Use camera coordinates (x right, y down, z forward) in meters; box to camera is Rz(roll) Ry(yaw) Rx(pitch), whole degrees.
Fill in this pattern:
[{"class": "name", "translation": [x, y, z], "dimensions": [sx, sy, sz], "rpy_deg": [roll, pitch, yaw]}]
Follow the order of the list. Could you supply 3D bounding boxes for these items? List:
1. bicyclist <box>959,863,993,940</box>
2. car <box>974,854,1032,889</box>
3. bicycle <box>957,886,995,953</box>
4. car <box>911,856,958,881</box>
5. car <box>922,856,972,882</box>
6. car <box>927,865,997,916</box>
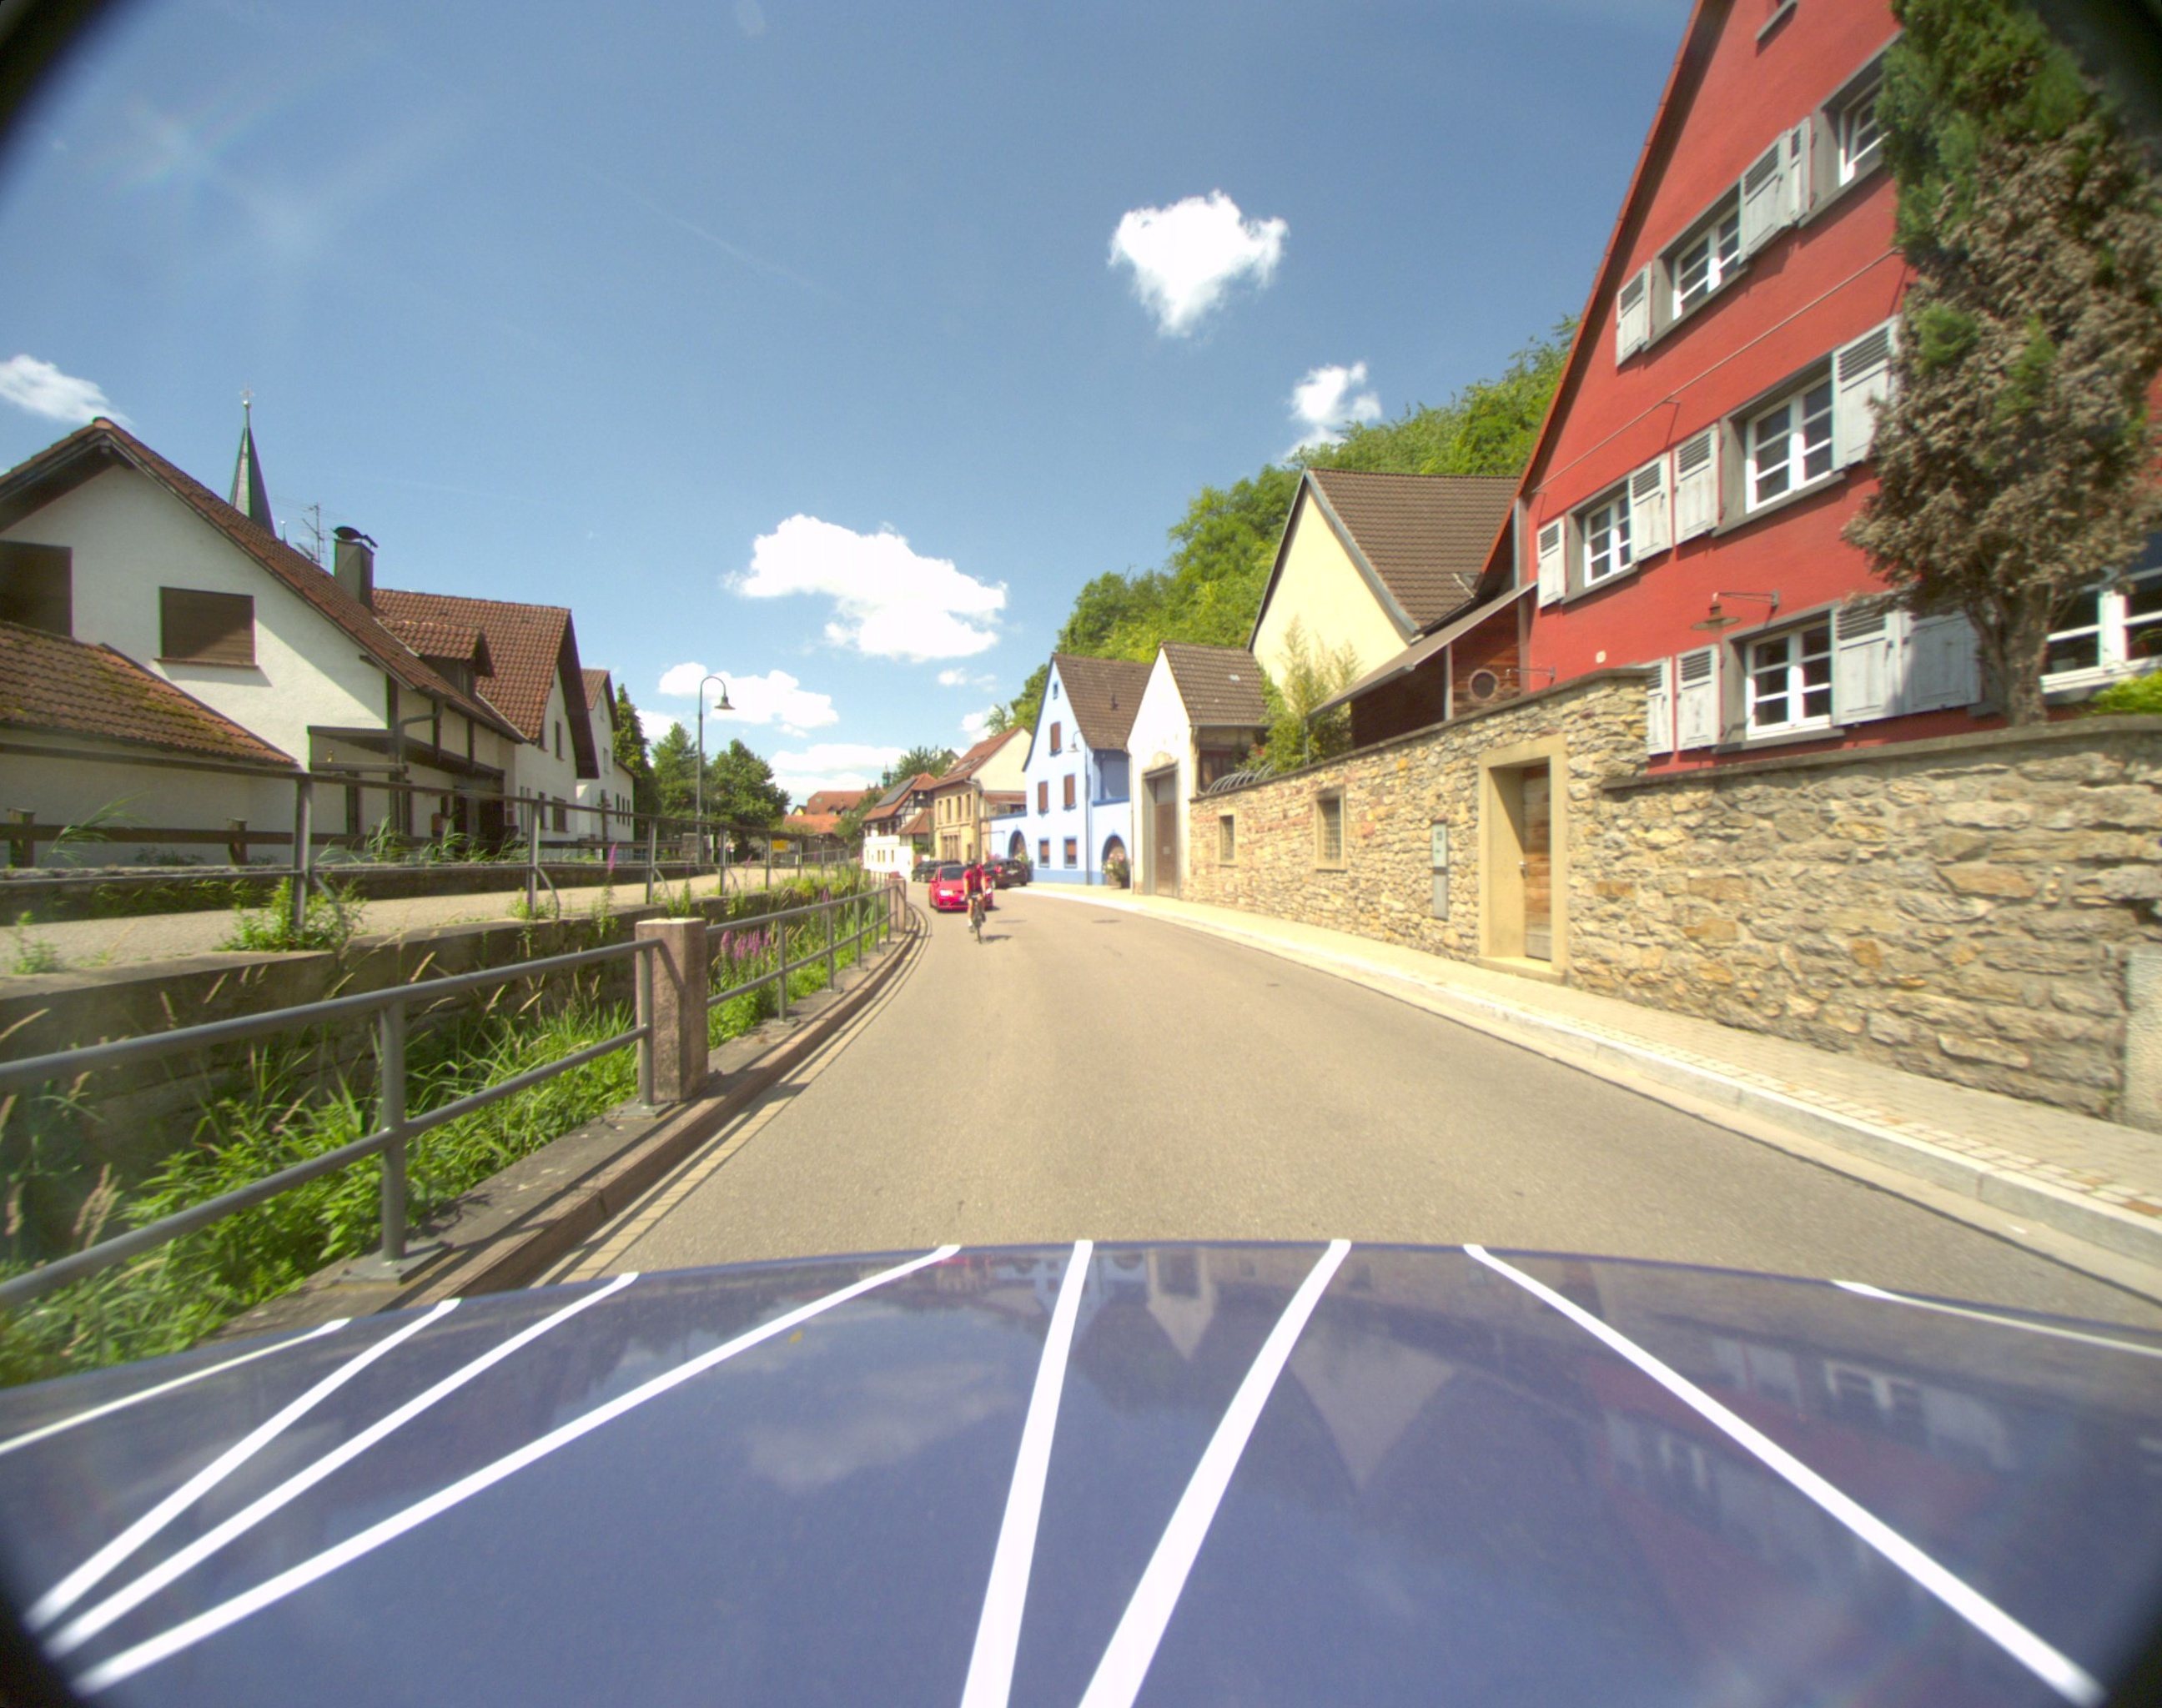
[{"class": "bicyclist", "translation": [-2.002, 0.891, 14.555], "dimensions": [0.532, 1.396, 0.755], "rpy_deg": [-2, 1, -4]}, {"class": "car", "translation": [-3.969, 0.828, 38.047], "dimensions": [1.724, 1.521, 3.848], "rpy_deg": [-4, 2, -23]}, {"class": "bicycle", "translation": [-1.973, 1.208, 14.491], "dimensions": [0.531, 1.070, 2.053], "rpy_deg": [-2, 0, -4]}, {"class": "car", "translation": [-10.111, 0.956, 52.097], "dimensions": [1.965, 1.457, 4.535], "rpy_deg": [-2, 1, -26]}, {"class": "car", "translation": [-8.431, 0.929, 47.582], "dimensions": [1.893, 1.456, 4.659], "rpy_deg": [-5, 1, -24]}, {"class": "car", "translation": [-3.782, 1.068, 23.766], "dimensions": [1.672, 1.344, 3.489], "rpy_deg": [-2, 1, -16]}]
